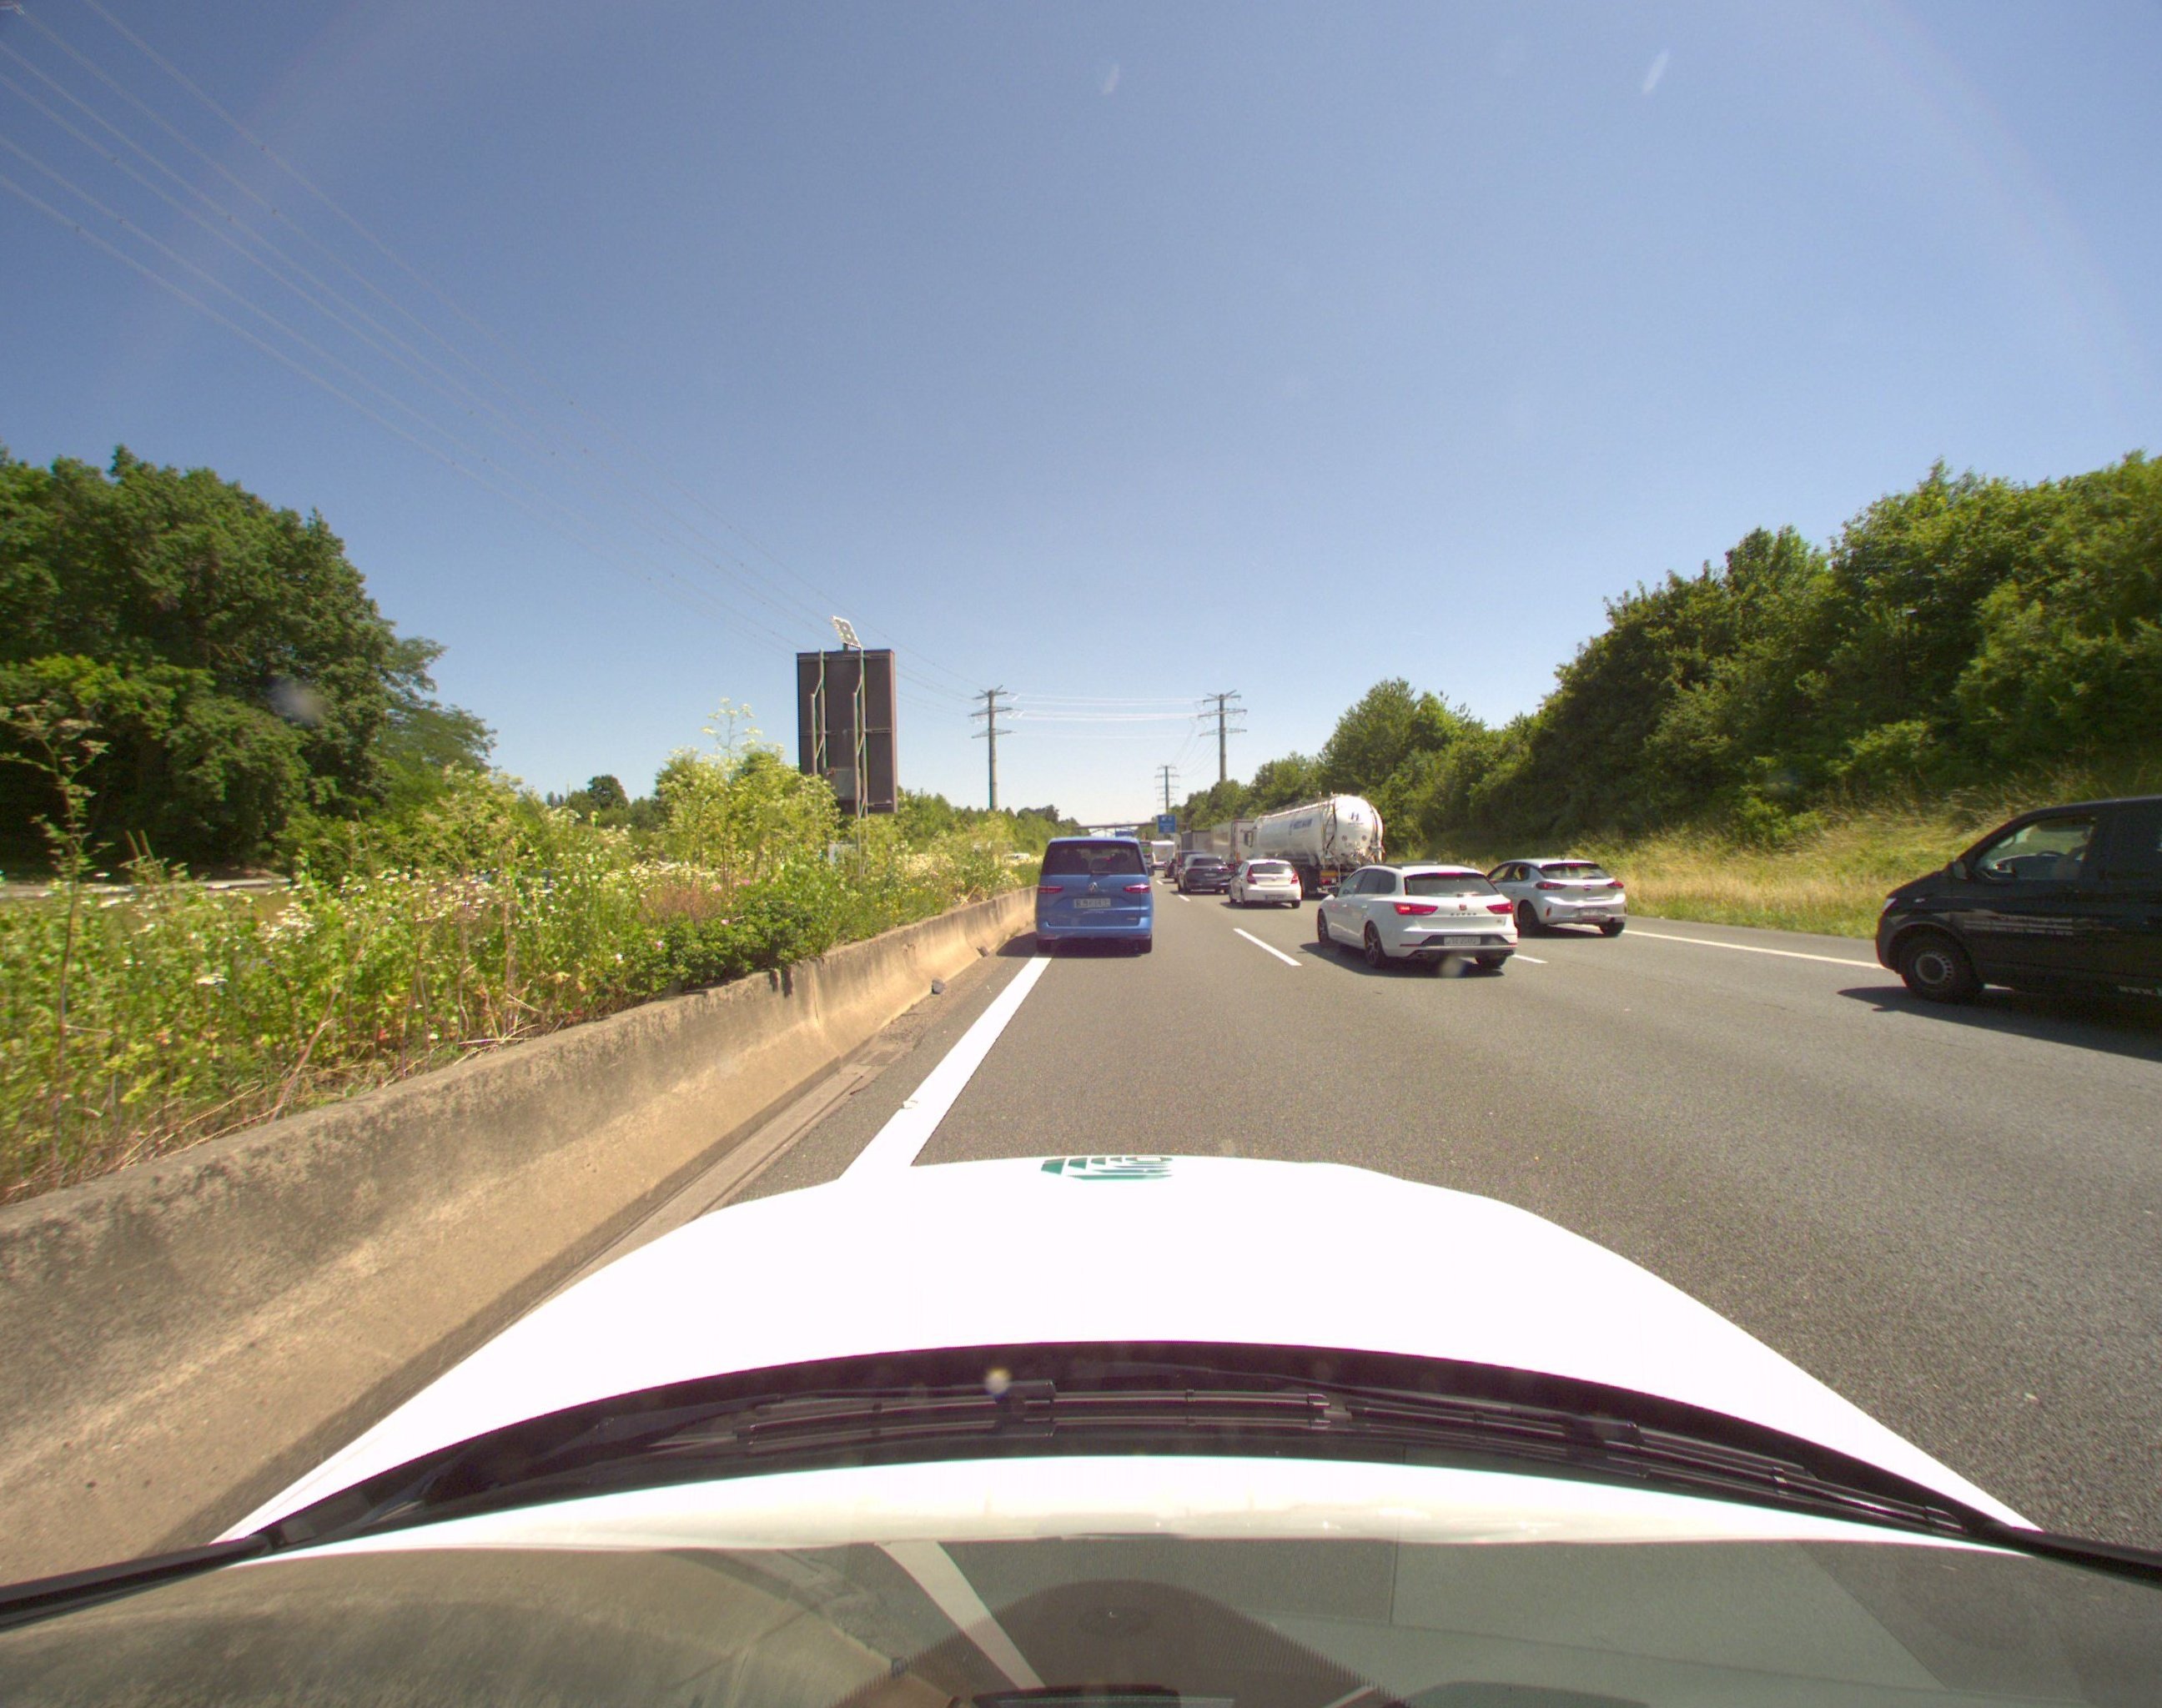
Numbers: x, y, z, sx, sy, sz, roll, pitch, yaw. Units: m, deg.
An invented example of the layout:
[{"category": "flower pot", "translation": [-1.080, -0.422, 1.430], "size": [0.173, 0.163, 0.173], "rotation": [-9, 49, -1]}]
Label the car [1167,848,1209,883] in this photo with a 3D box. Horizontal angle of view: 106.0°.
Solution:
[{"category": "car", "translation": [6.452, 0.722, 49.667], "size": [1.918, 1.925, 4.234], "rotation": [-2, -1, -1]}]

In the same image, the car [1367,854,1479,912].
[{"category": "car", "translation": [9.554, 0.793, 23.067], "size": [1.634, 1.416, 3.992], "rotation": [-3, -1, 3]}]

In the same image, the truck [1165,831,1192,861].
[{"category": "truck", "translation": [13.417, -1.037, 113.446], "size": [2.883, 3.767, 13.355], "rotation": [-1, -1, 3]}]

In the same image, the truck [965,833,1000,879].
[{"category": "truck", "translation": [-11.305, 0.230, 93.447], "size": [3.290, 5.051, 4.034], "rotation": [-1, -1, 2]}]

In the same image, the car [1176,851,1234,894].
[{"category": "car", "translation": [5.325, 0.795, 35.547], "size": [1.991, 1.715, 4.628], "rotation": [-2, -1, 3]}]

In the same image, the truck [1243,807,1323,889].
[{"category": "truck", "translation": [10.212, -0.244, 41.706], "size": [2.782, 3.836, 5.574], "rotation": [-2, -1, 2]}]

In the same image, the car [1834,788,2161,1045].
[{"category": "car", "translation": [9.103, 0.453, 6.443], "size": [1.905, 1.940, 4.860], "rotation": [-2, -1, 3]}]

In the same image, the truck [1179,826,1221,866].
[{"category": "truck", "translation": [12.271, -0.648, 85.496], "size": [2.993, 3.767, 15.725], "rotation": [-1, -1, 3]}]

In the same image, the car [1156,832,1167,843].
[{"category": "car", "translation": [15.288, -3.082, 154.761], "size": [1.985, 2.014, 4.002], "rotation": [-1, -1, 3]}]

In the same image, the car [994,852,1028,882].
[{"category": "car", "translation": [-5.149, 0.981, 60.627], "size": [1.986, 2.147, 4.601], "rotation": [-1, -1, 1]}]

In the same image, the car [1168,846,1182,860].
[{"category": "car", "translation": [14.724, -0.161, 127.588], "size": [1.985, 2.014, 4.002], "rotation": [-1, -1, 3]}]

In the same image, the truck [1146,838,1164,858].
[{"category": "truck", "translation": [17.948, -1.424, 198.037], "size": [3.553, 4.517, 10.297], "rotation": [-1, -1, 2]}]

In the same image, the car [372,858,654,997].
[{"category": "car", "translation": [-8.360, 0.966, 12.436], "size": [1.575, 1.754, 3.690], "rotation": [-2, 0, 2]}]

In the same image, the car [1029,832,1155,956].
[{"category": "car", "translation": [0.256, 0.616, 14.380], "size": [1.912, 1.886, 4.002], "rotation": [0, 0, 2]}]

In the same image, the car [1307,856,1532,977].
[{"category": "car", "translation": [4.769, 0.820, 12.210], "size": [1.740, 1.443, 4.316], "rotation": [-2, -1, 3]}]

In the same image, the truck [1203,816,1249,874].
[{"category": "truck", "translation": [11.764, -0.656, 66.585], "size": [2.901, 4.469, 5.144], "rotation": [-2, -1, 2]}]

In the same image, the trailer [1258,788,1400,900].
[{"category": "trailer", "translation": [9.907, -0.309, 34.182], "size": [2.750, 3.845, 11.491], "rotation": [-2, -1, 2]}]

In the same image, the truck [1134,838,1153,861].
[{"category": "truck", "translation": [10.653, -0.655, 139.664], "size": [2.883, 3.767, 10.148], "rotation": [-1, -1, 3]}]

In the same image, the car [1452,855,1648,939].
[{"category": "car", "translation": [9.232, 0.765, 16.460], "size": [1.724, 1.443, 4.030], "rotation": [-2, 0, 2]}]

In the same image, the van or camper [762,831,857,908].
[{"category": "van or camper", "translation": [-10.850, 0.599, 32.885], "size": [2.040, 2.860, 4.652], "rotation": [-2, 0, 2]}]

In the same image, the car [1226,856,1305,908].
[{"category": "car", "translation": [5.790, 0.856, 25.973], "size": [1.809, 1.485, 4.004], "rotation": [-2, -1, 4]}]

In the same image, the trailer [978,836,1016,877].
[{"category": "trailer", "translation": [-10.771, 0.391, 105.322], "size": [3.309, 5.047, 9.597], "rotation": [-1, -1, 3]}]

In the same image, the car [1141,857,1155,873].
[{"category": "car", "translation": [9.081, 1.528, 110.794], "size": [1.828, 1.998, 4.004], "rotation": [-2, -1, 4]}]

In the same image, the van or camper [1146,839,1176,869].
[{"category": "van or camper", "translation": [8.700, 0.054, 89.047], "size": [2.944, 3.022, 7.109], "rotation": [-1, -1, 4]}]

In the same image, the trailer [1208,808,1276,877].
[{"category": "trailer", "translation": [11.512, -0.697, 59.646], "size": [2.901, 4.469, 12.159], "rotation": [-2, -1, 2]}]

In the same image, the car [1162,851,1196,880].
[{"category": "car", "translation": [7.096, 0.849, 59.432], "size": [1.918, 1.925, 4.234], "rotation": [-2, -1, -1]}]
